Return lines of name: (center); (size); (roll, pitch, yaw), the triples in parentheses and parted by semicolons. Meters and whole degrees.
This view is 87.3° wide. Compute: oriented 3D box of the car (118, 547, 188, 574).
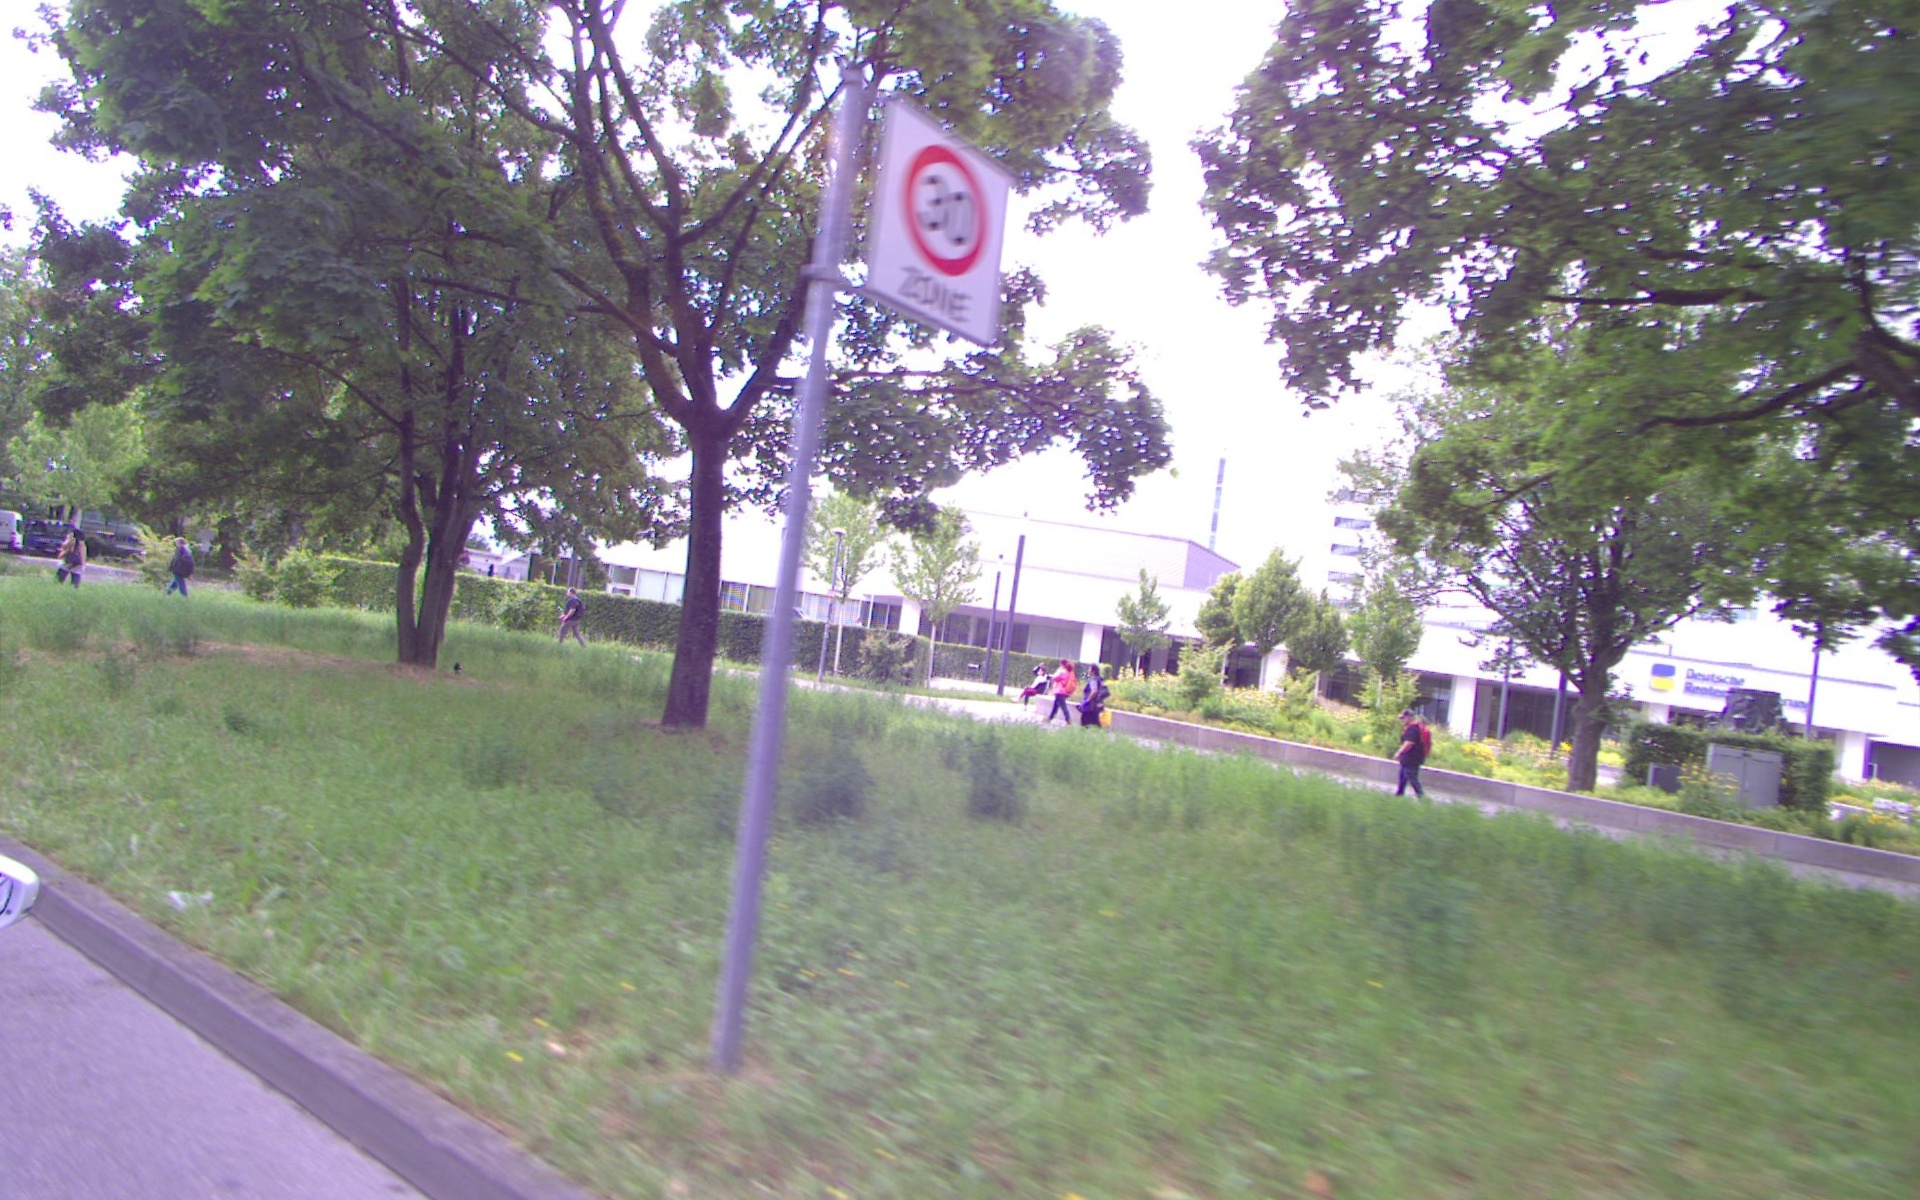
car: (-64.536, -3.167, 80.476); (1.742, 1.517, 3.930); (7, -2, 31)

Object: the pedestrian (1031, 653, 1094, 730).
pedestrian: (2.366, 2.110, 23.165); (0.916, 1.625, 0.954); (6, -3, 35)

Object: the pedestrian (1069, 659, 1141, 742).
pedestrian: (2.853, 1.976, 19.768); (0.967, 1.468, 0.879); (8, -2, 30)

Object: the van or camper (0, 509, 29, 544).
van or camper: (-58.903, -4.662, 59.876); (4.638, 1.936, 1.758); (9, -1, -30)

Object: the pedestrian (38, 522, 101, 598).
pedestrian: (-22.344, -1.007, 25.245); (0.809, 1.742, 0.776); (7, -1, 28)

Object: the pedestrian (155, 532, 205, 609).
pedestrian: (-19.152, -0.725, 24.720); (0.771, 1.742, 0.815); (9, -1, -38)

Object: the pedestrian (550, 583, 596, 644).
pedestrian: (-10.119, 0.358, 26.324); (0.685, 1.468, 0.835); (9, -2, 0)

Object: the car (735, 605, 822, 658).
car: (-7.505, 1.316, 41.818); (3.095, 1.694, 1.577); (9, -2, 0)

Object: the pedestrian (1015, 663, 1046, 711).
pedestrian: (1.873, 2.310, 26.839); (0.595, 1.174, 0.649); (7, -2, -5)

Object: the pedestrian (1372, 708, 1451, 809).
pedestrian: (7.492, 2.610, 16.688); (0.967, 1.468, 0.760); (8, -2, 30)

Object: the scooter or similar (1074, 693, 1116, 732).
scooter or similar: (3.058, 2.549, 22.817); (0.662, 0.790, 0.634); (5, -3, 35)

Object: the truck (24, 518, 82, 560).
truck: (-60.291, -4.064, 66.972); (2.319, 2.321, 5.830); (10, -3, -40)
